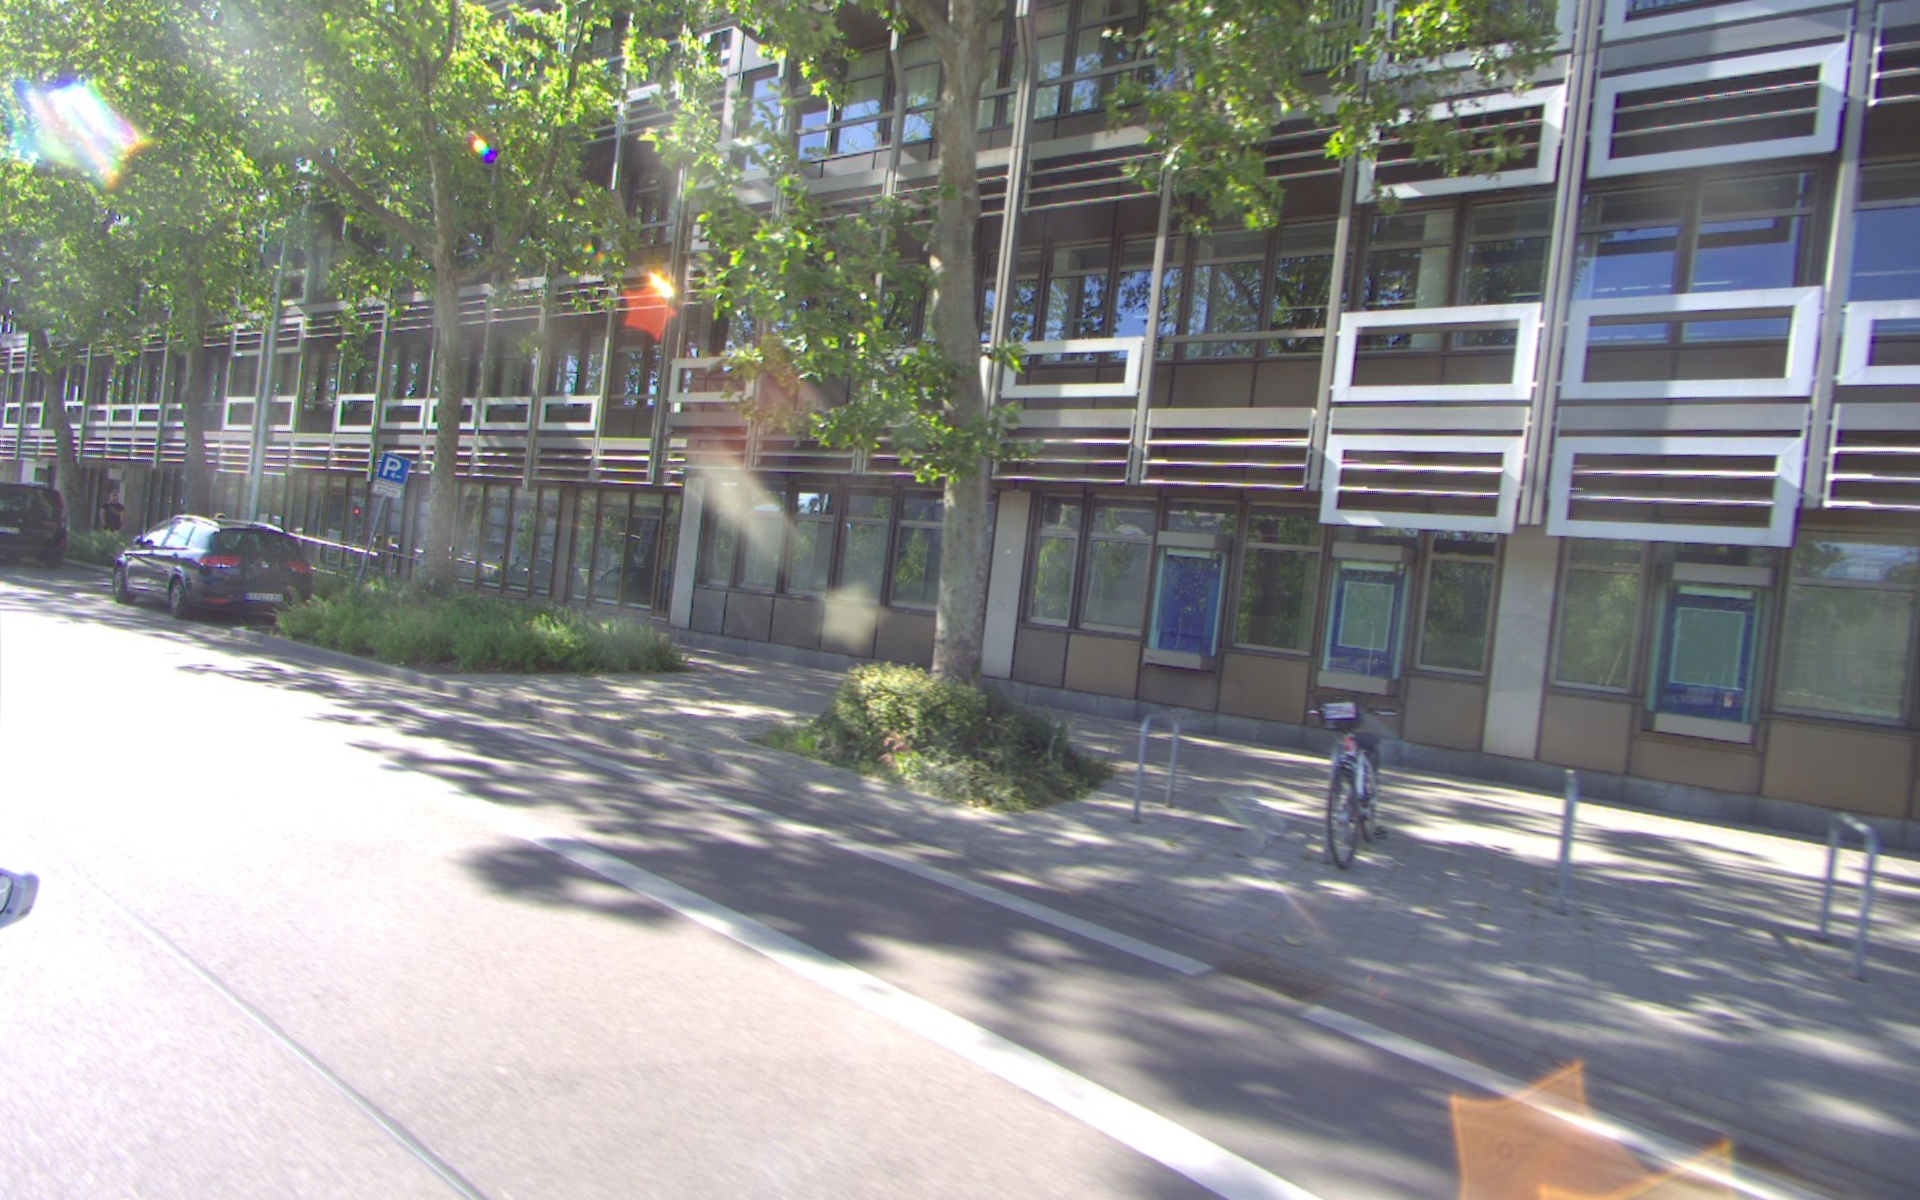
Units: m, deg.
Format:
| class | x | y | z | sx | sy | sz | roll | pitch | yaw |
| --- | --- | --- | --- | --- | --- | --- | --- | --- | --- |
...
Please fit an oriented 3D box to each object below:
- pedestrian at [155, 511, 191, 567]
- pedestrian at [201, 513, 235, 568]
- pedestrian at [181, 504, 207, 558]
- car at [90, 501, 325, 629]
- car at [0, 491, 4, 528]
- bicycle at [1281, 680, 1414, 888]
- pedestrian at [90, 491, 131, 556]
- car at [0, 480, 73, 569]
| class | x | y | z | sx | sy | sz | roll | pitch | yaw |
| --- | --- | --- | --- | --- | --- | --- | --- | --- | --- |
| pedestrian | -24.019 | -1.844 | 30.707 | 0.623 | 1.604 | 0.507 | 7 | 0 | 24 |
| pedestrian | -23.261 | -1.858 | 31.554 | 0.564 | 1.622 | 0.554 | 7 | 0 | 33 |
| pedestrian | -23.725 | -2.137 | 31.161 | 0.492 | 1.604 | 0.316 | 7 | 0 | 24 |
| car | -12.635 | -0.628 | 16.805 | 4.562 | 1.664 | 1.704 | 7 | 1 | 35 |
| car | -26.358 | -2.198 | 25.754 | 4.124 | 1.582 | 1.706 | 6 | -1 | 33 |
| bicycle | 3.035 | 1.324 | 7.765 | 0.569 | 1.253 | 1.938 | 7 | 2 | 29 |
| pedestrian | -27.223 | -2.448 | 32.253 | 0.548 | 1.938 | 0.678 | 6 | -2 | 32 |
| car | -21.975 | -1.834 | 22.782 | 4.123 | 1.813 | 1.704 | 7 | 2 | 33 |
